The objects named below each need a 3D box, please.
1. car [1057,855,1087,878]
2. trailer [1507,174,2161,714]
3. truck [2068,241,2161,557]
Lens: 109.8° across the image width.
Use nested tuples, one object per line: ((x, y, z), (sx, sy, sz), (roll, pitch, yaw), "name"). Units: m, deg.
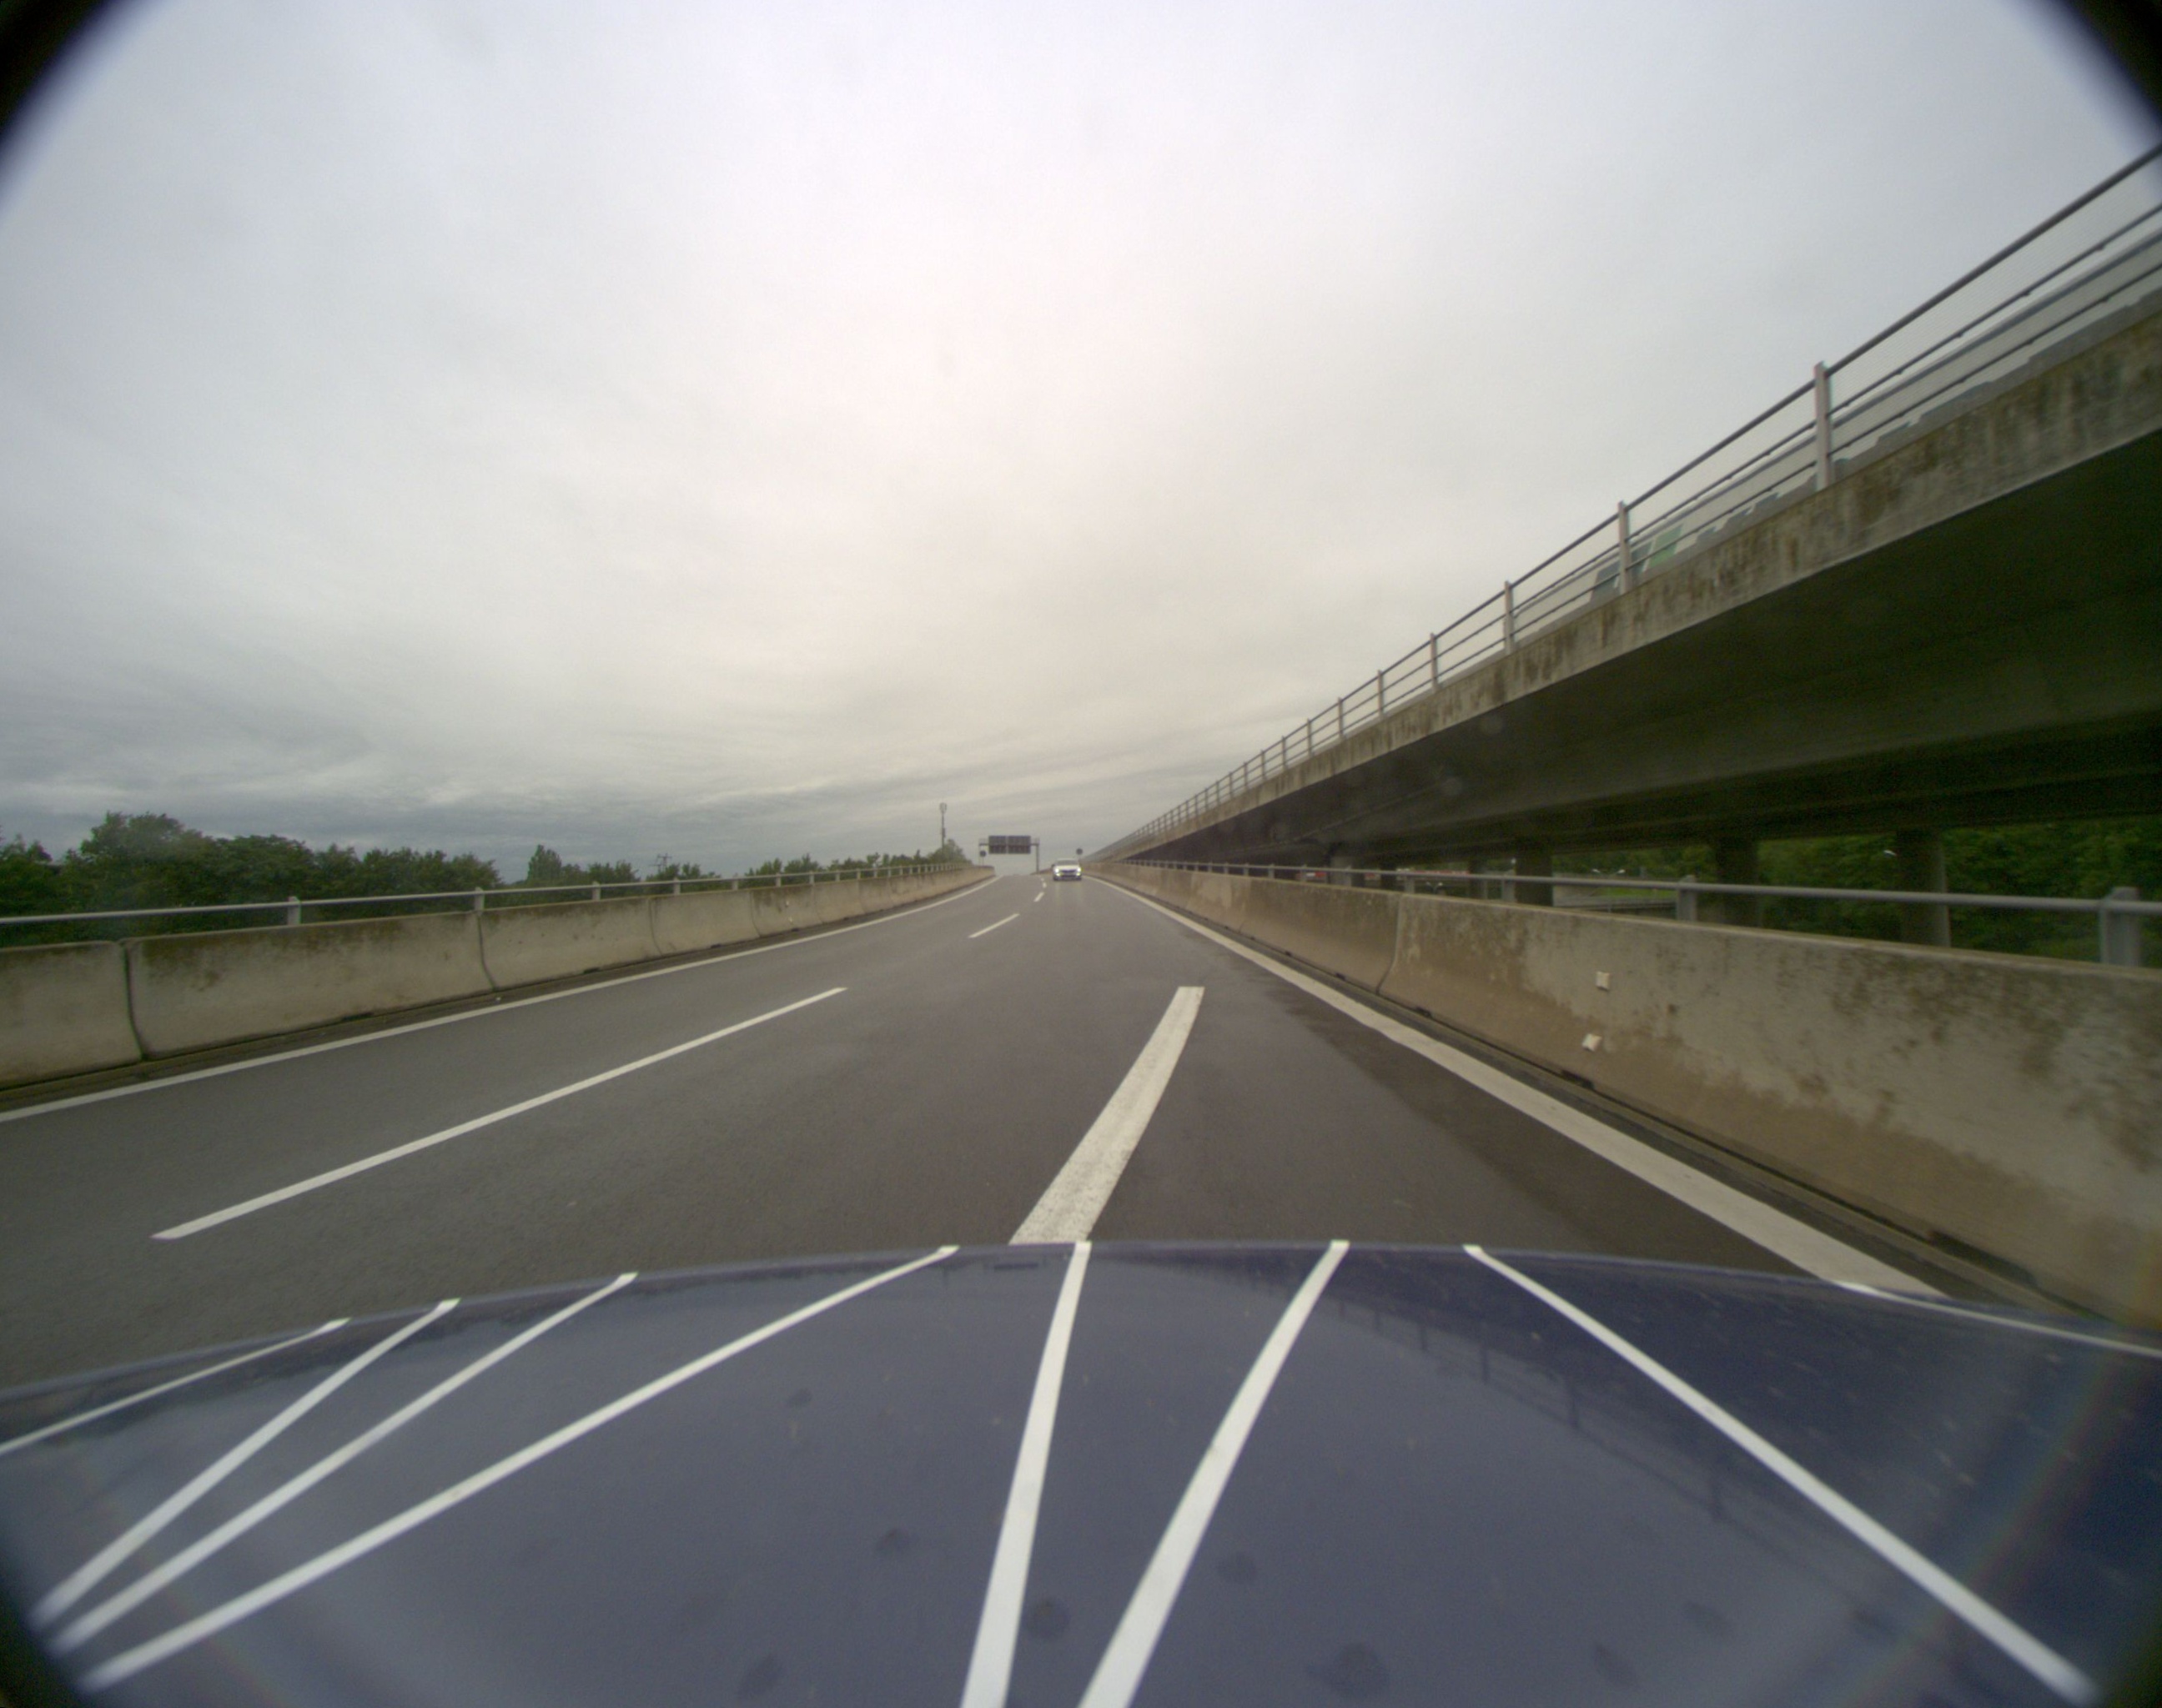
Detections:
((-0.604, 0.803, 50.252), (1.915, 1.439, 4.556), (1, 0, -1), "car")
((13.163, -5.737, 13.504), (2.665, 3.277, 14.063), (-2, -2, -2), "trailer")
((13.463, -5.357, 6.652), (2.596, 3.225, 5.196), (-2, -3, -2), "truck")
